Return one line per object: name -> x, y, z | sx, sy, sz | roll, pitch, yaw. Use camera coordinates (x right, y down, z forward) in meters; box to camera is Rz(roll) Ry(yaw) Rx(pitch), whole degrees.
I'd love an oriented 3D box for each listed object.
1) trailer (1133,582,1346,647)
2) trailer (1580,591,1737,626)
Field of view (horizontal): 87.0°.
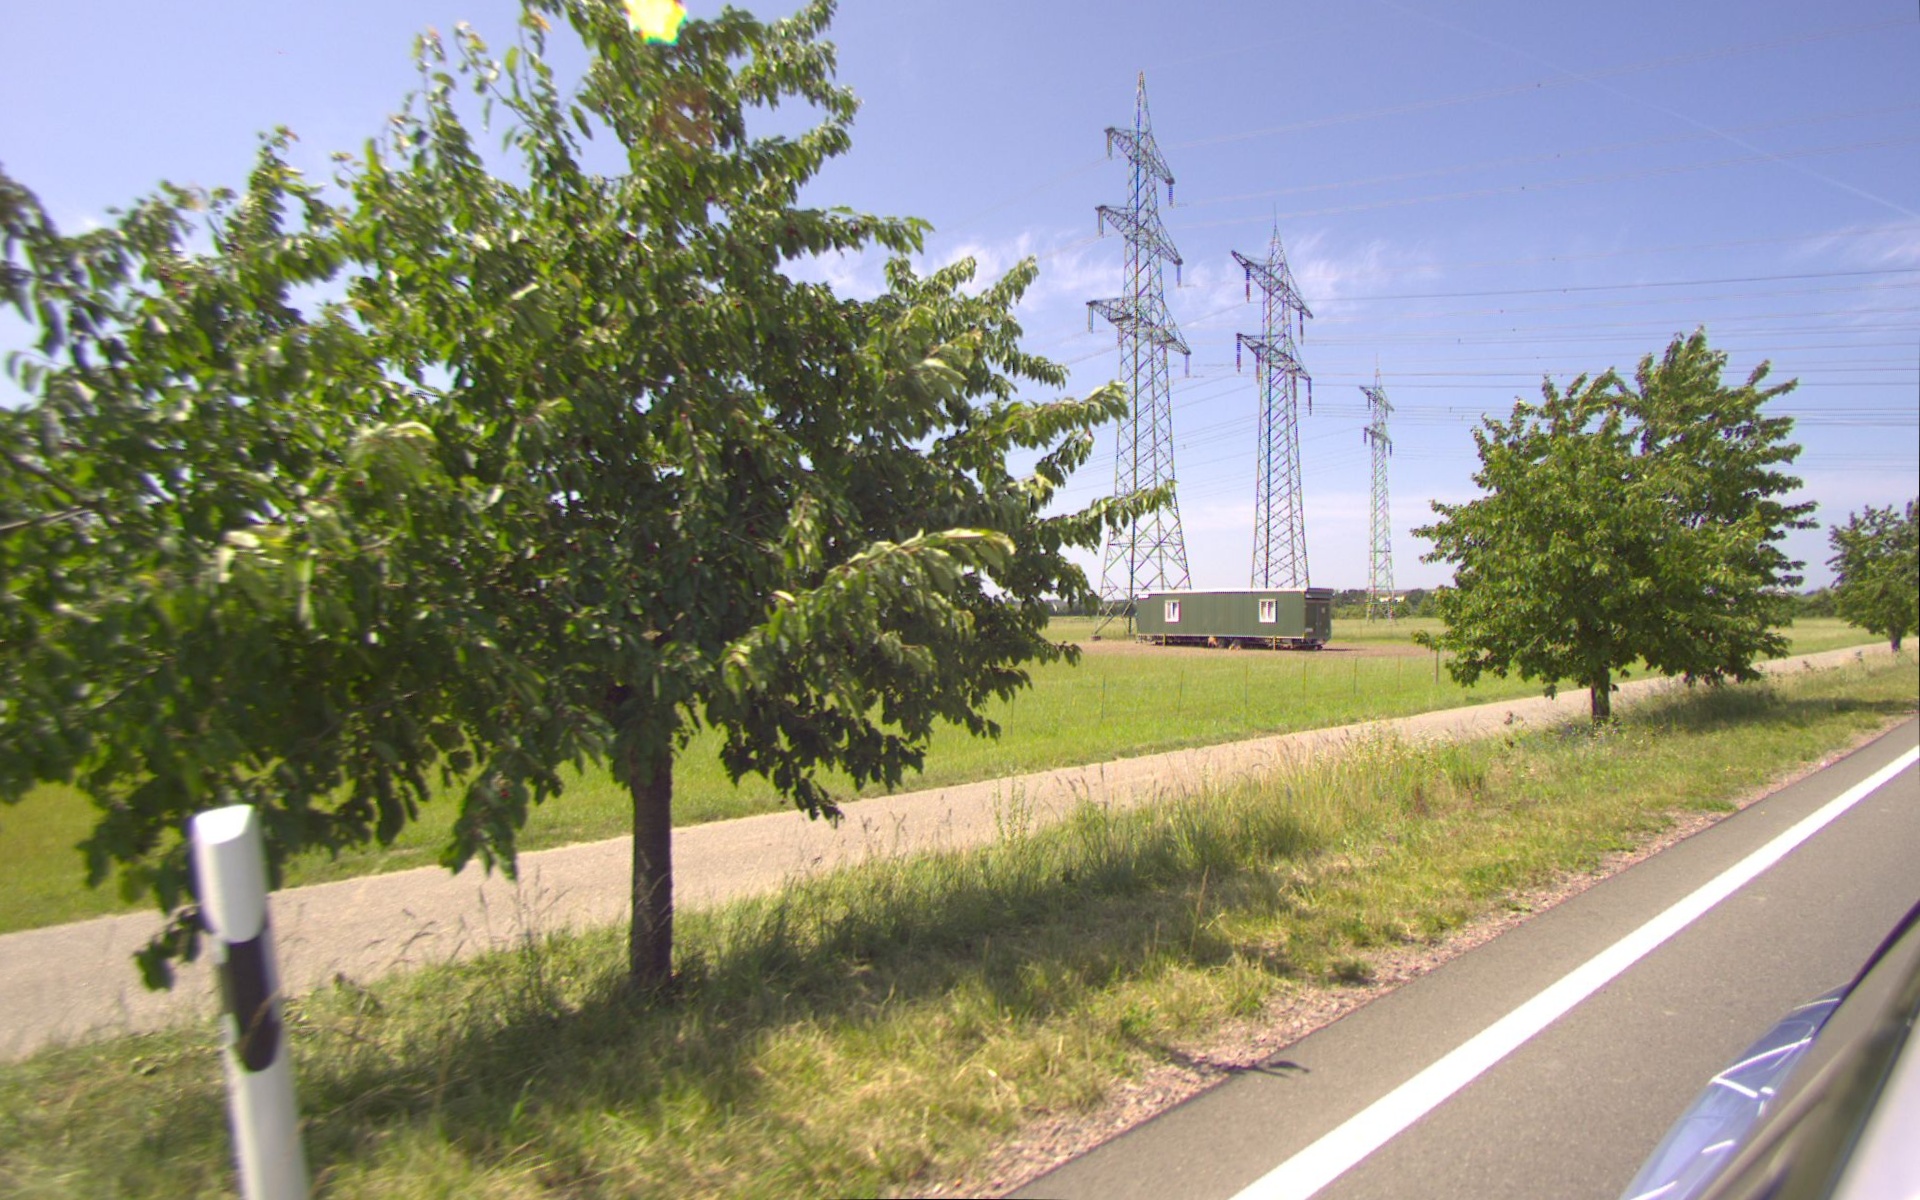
trailer -> 16.452, 0.858, 60.918 | 3.738, 3.517, 12.433 | 0, -1, -40
trailer -> 74.720, 0.975, 108.694 | 3.217, 3.519, 13.539 | 0, -1, -38
